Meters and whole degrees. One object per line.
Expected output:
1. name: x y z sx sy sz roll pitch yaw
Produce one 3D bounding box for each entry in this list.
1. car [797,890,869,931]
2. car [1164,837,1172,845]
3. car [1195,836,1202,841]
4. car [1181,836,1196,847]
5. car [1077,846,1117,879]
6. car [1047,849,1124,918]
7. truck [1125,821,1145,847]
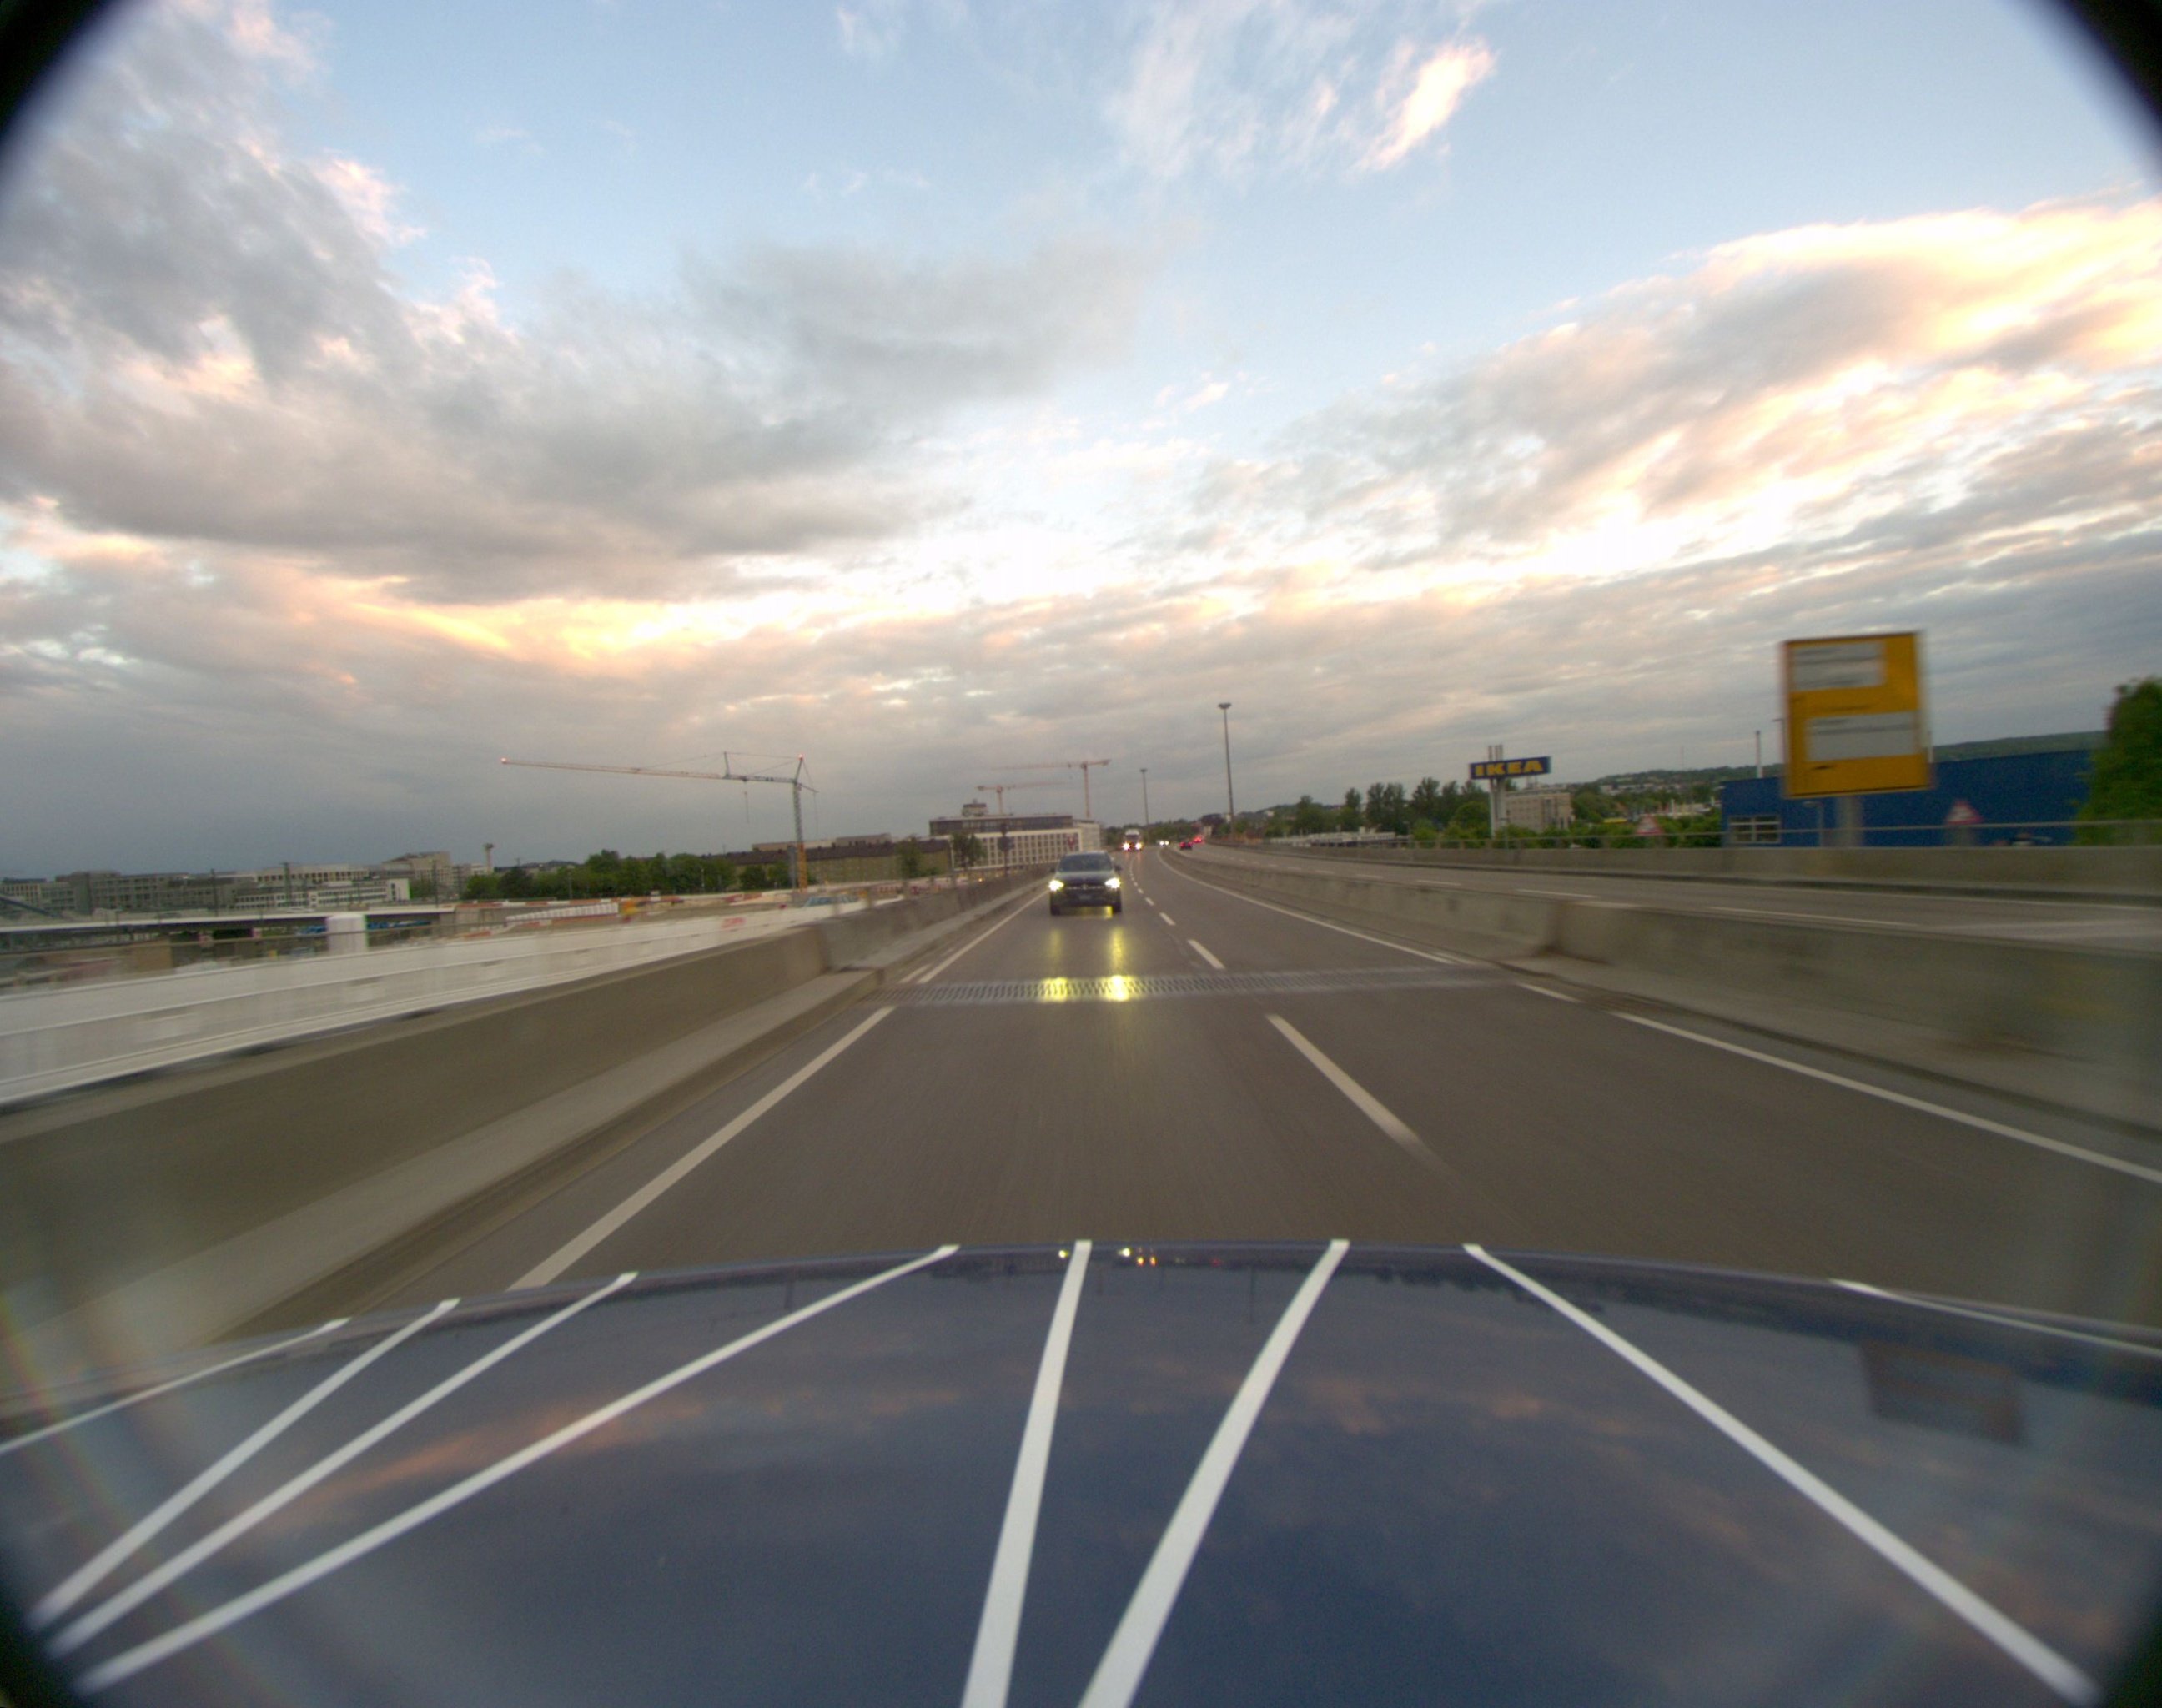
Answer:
1. car: -10.992 2.484 33.936 1.754 1.482 4.001 -3 0 1
2. car: 24.164 -3.639 211.139 1.997 2.002 4.002 -4 0 7
3. car: 38.114 -5.018 245.395 1.980 1.596 4.444 -3 1 11
4. car: 16.214 -1.891 115.143 1.833 1.472 4.287 -3 1 4
5. car: 0.939 0.447 42.432 1.890 1.641 4.345 -3 0 5
6. car: 0.234 0.723 20.751 1.823 1.602 4.213 -2 1 3
7. truck: 9.738 -3.537 137.422 3.164 4.369 8.794 -3 1 6
